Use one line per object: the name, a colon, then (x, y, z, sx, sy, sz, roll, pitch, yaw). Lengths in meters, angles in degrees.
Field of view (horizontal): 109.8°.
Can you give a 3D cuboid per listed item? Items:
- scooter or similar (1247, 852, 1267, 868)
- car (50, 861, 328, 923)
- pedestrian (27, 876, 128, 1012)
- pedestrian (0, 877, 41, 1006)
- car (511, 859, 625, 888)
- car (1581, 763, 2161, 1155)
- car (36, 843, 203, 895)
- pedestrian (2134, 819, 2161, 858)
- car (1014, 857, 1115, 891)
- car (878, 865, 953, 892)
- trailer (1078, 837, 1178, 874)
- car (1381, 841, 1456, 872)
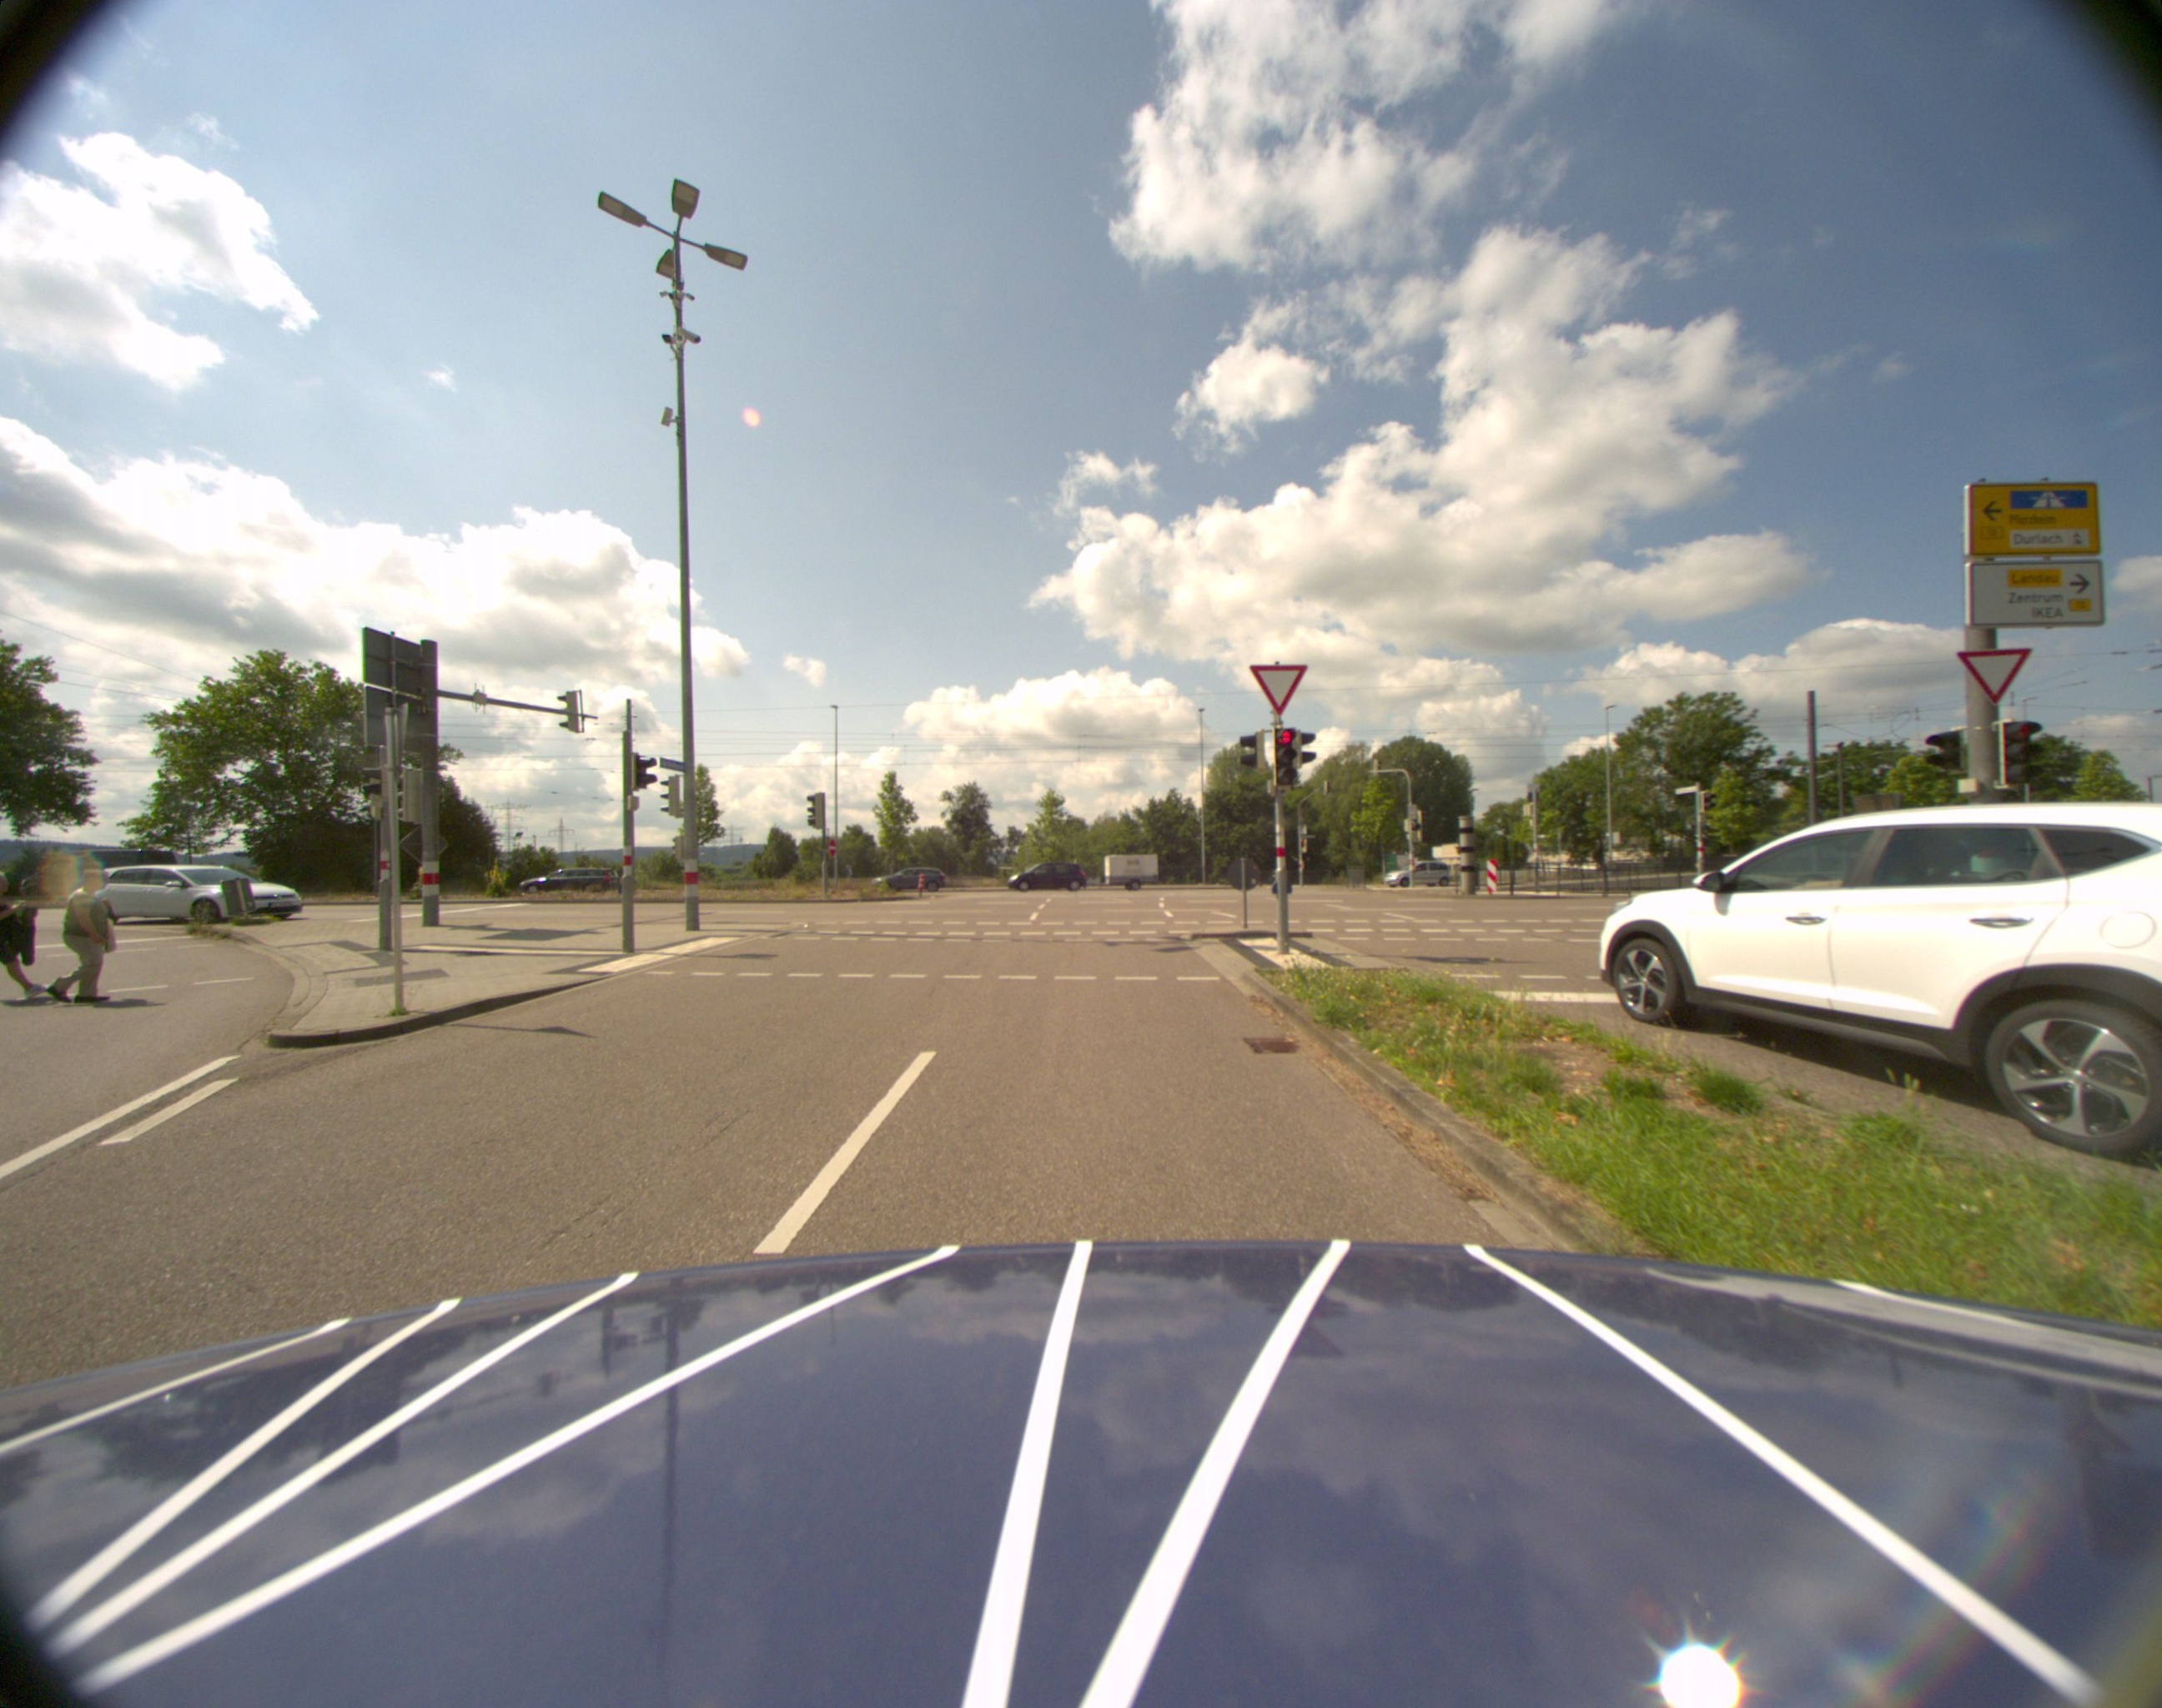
scooter or similar: (12.082, 0.407, 52.220, 1.249, 1.092, 0.343, -2, 0, -2)
car: (-22.312, 0.914, 19.181, 4.494, 1.405, 2.013, -1, 0, -2)
pedestrian: (-11.576, 1.020, 8.775, 0.556, 1.515, 0.470, -2, 0, 10)
pedestrian: (-13.005, 1.041, 9.050, 0.584, 1.515, 0.469, -1, 1, 10)
car: (-28.084, 1.079, 41.747, 4.783, 1.499, 1.966, 0, -2, -11)
car: (5.312, 0.407, 4.575, 1.712, 1.610, 4.377, 0, 1, 0)
car: (-50.132, 0.781, 39.729, 5.674, 2.588, 1.992, -1, -2, -5)
pedestrian: (47.852, -0.674, 33.854, 0.792, 1.698, 0.761, 0, 0, -4)
car: (-0.964, 1.060, 41.179, 5.251, 1.564, 1.999, -2, 0, -7)
car: (-9.672, 1.433, 44.642, 4.069, 1.439, 1.728, -1, 1, -6)
trailer: (2.526, 0.058, 41.647, 5.181, 1.820, 1.824, -1, 1, -7)
car: (19.273, 0.108, 43.469, 3.489, 1.448, 1.700, -4, 3, 1)
